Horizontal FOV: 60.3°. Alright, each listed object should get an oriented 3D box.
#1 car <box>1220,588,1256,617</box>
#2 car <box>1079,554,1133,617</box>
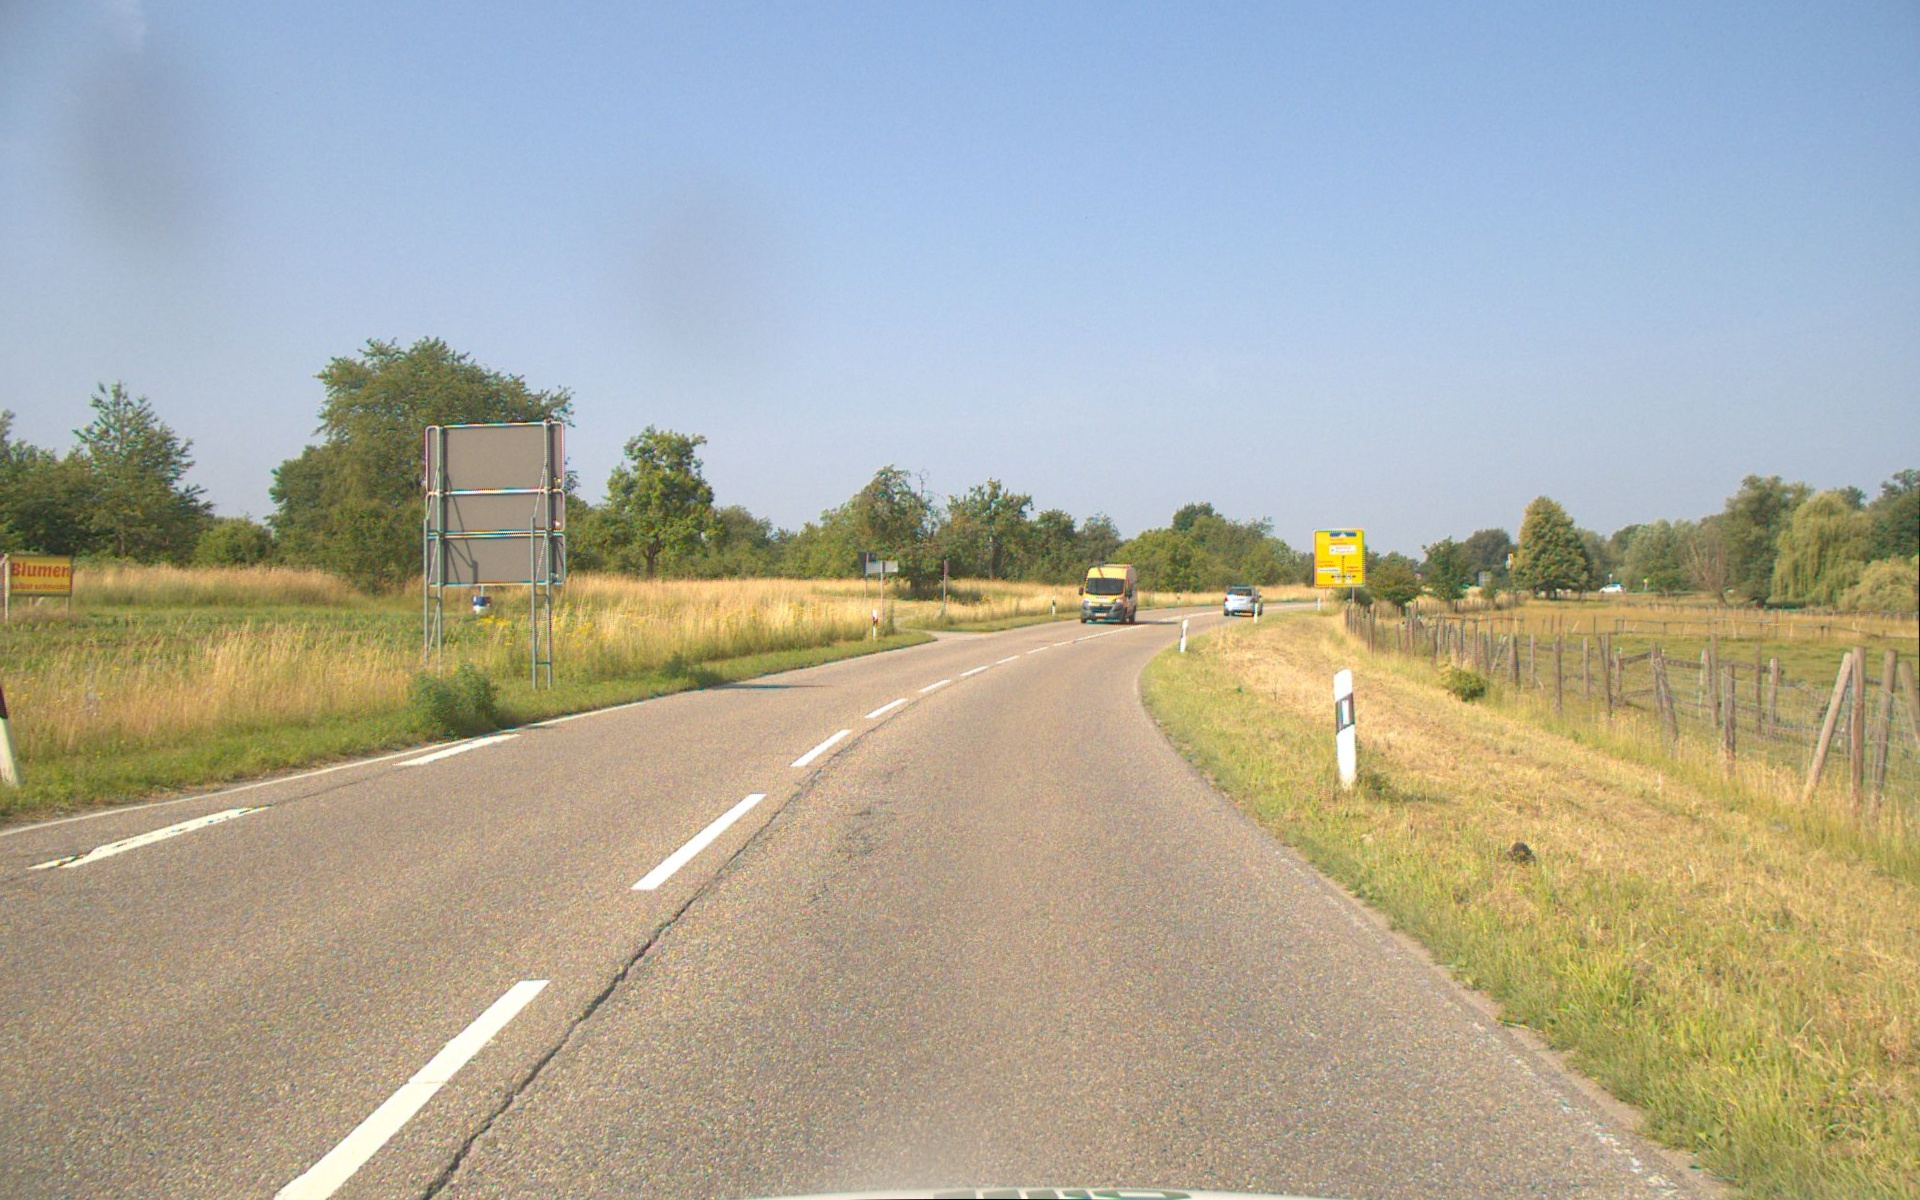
[{"bbox_3d":[15.568,0.145,92.641,1.858,1.538,4.004,1,0,11],"label":"car"},{"bbox_3d":[6.686,-0.661,75.127,2.078,2.743,5.273,1,0,9],"label":"car"}]
